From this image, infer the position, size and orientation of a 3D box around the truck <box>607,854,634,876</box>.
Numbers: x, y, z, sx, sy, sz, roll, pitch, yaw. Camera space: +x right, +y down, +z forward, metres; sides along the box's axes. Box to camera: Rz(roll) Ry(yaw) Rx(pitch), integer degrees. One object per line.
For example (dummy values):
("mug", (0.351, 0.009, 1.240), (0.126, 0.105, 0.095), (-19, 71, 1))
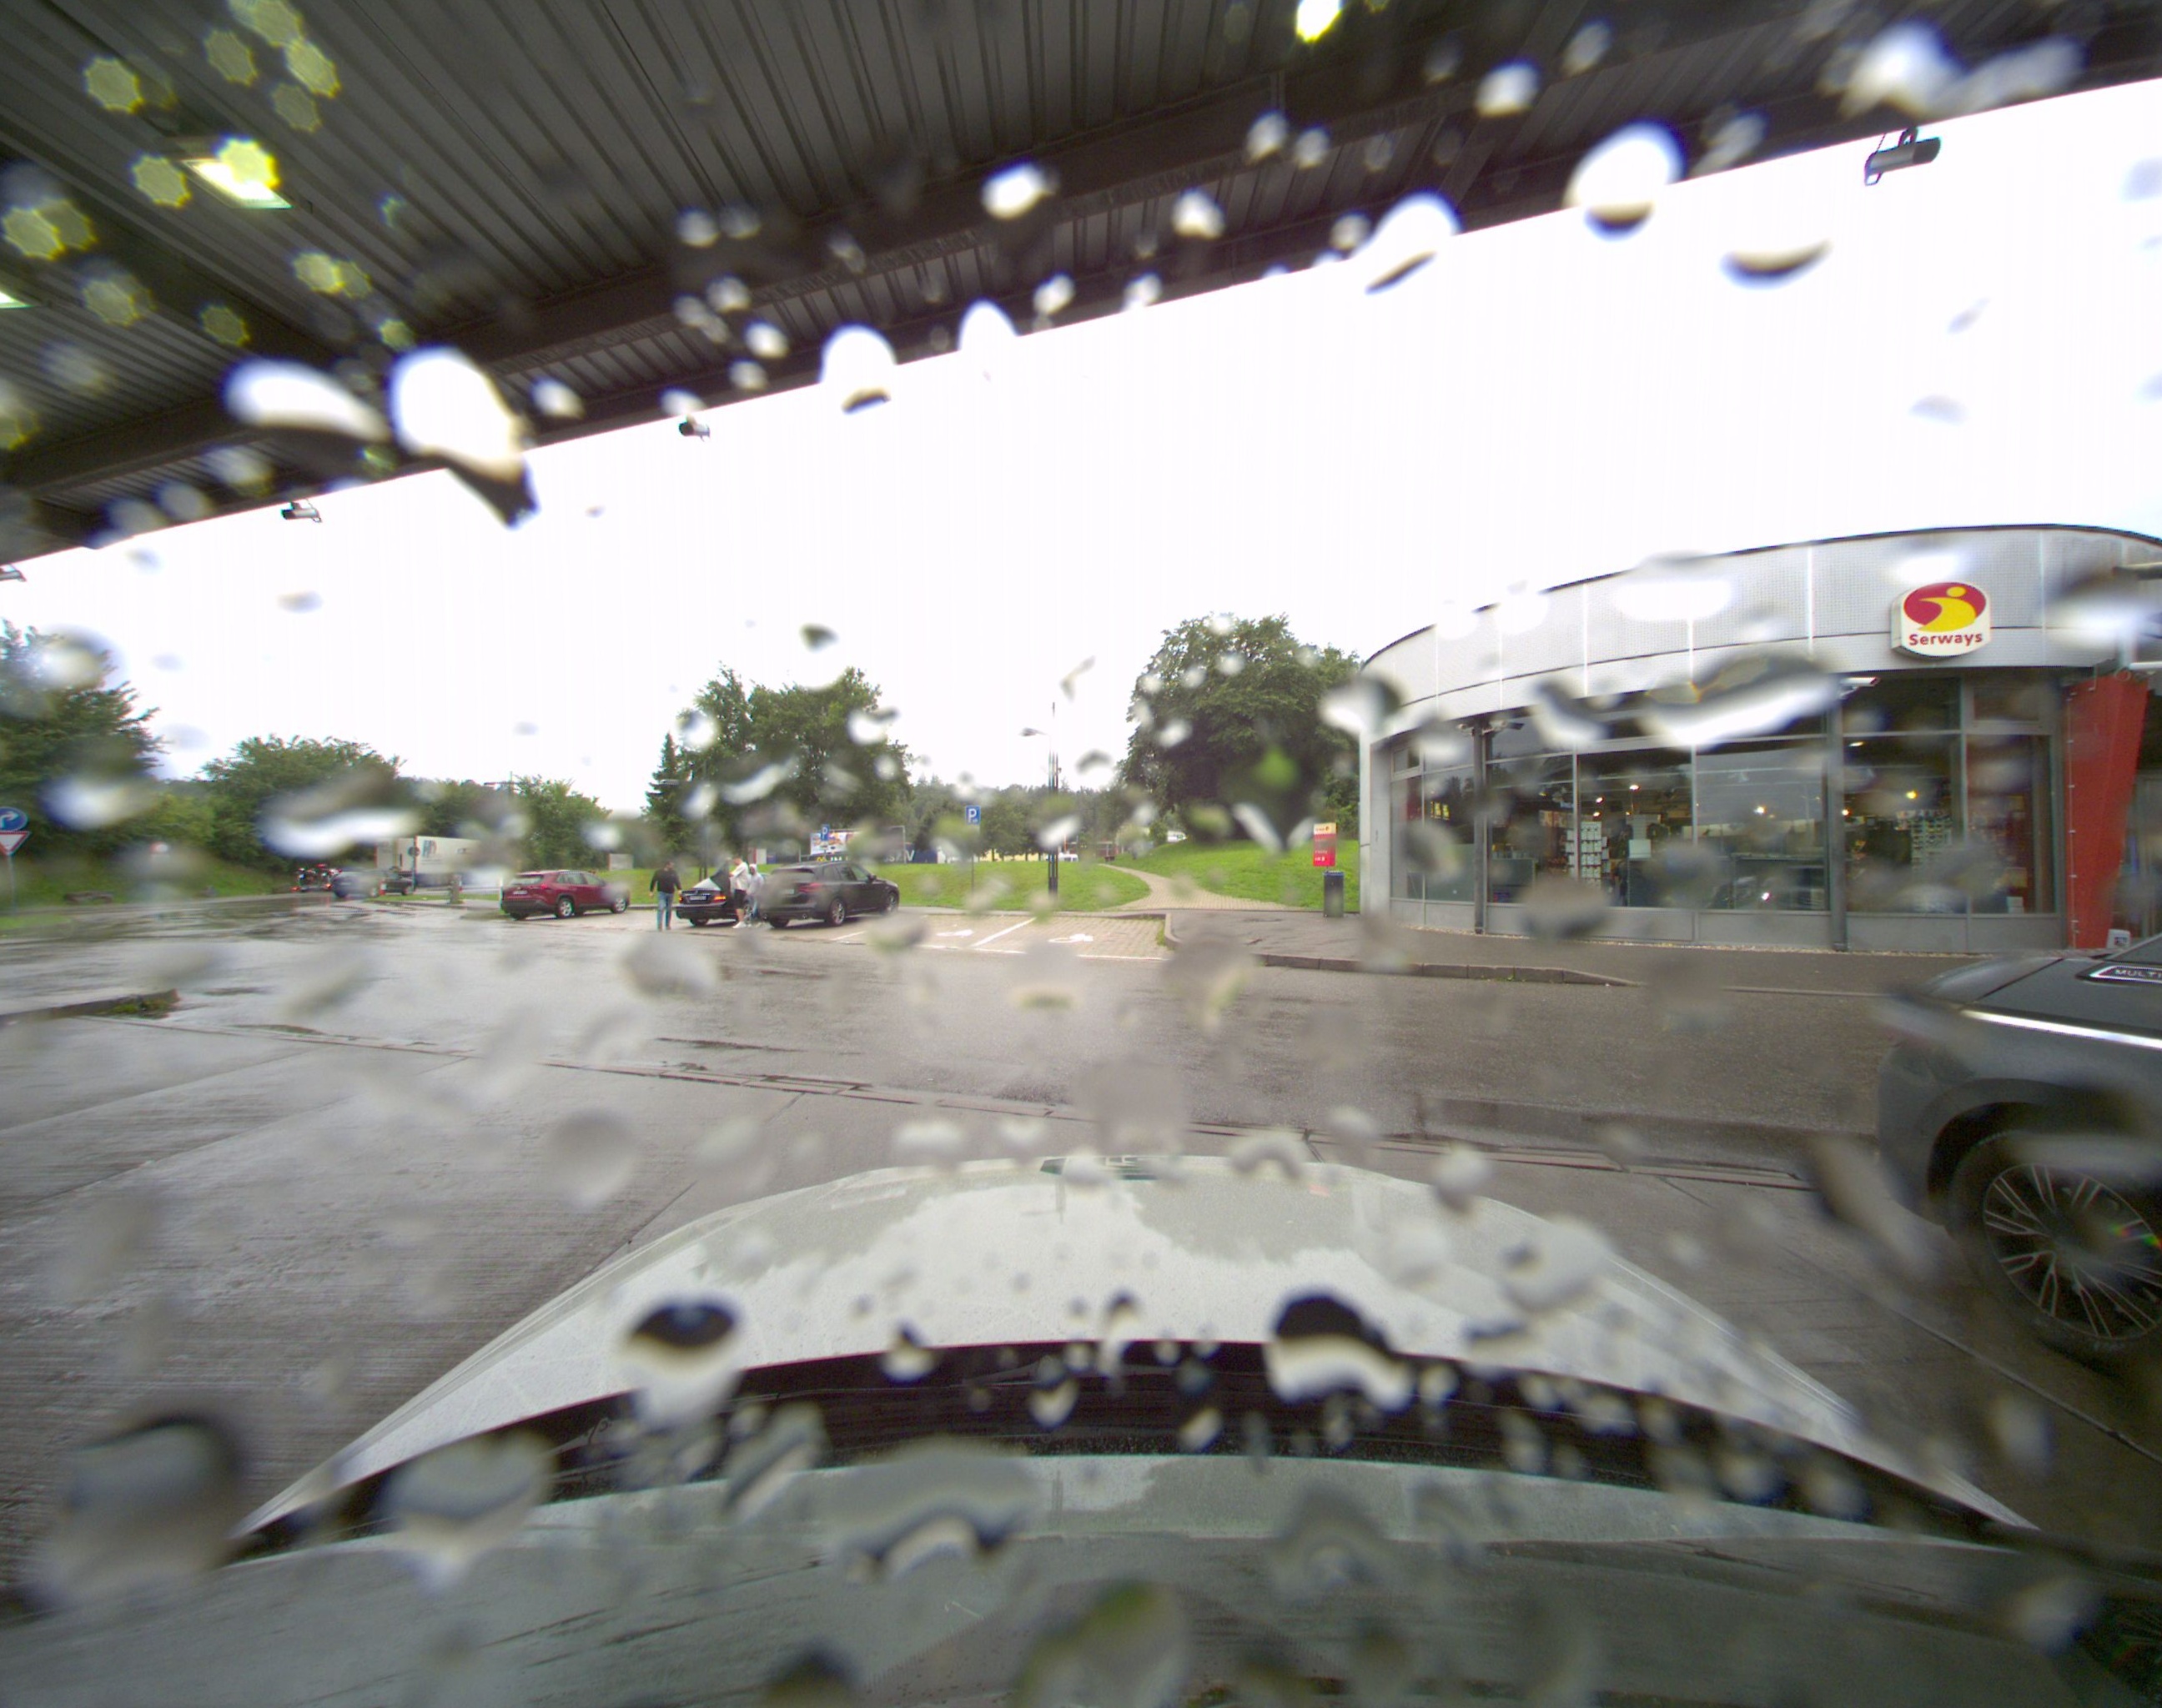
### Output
("truck", (-66.266, 1.576, 117.266), (2.488, 3.085, 7.301), (0, -1, -23))

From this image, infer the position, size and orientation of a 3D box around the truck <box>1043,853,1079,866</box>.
("truck", (-3.242, 0.874, 134.104), (5.356, 2.014, 2.381), (-1, -1, 26))

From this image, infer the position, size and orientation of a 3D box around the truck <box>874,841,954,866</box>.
("truck", (-20.747, -0.062, 102.346), (2.165, 2.920, 13.175), (-1, -1, 26))

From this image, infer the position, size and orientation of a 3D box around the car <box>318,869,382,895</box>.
("car", (-50.340, 1.866, 56.173), (1.814, 1.681, 3.927), (0, -1, -18))

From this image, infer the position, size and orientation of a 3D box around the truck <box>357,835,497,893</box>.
("truck", (-55.440, 0.826, 69.977), (3.550, 4.340, 16.899), (0, -1, -18))

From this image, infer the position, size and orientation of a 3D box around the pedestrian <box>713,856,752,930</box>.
("pedestrian", (-9.160, 0.996, 21.417), (0.701, 1.887, 0.951), (0, -1, -8))

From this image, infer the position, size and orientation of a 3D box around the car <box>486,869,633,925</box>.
("car", (-18.134, 1.435, 28.591), (1.928, 1.644, 4.352), (-2, 0, 7))

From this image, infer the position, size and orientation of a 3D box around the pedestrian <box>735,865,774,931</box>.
("pedestrian", (-8.320, 1.092, 20.779), (0.701, 1.631, 0.951), (0, -1, -8))

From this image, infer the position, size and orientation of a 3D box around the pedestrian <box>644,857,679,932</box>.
("pedestrian", (-10.858, 1.020, 21.104), (0.704, 1.887, 0.887), (0, -1, -21))

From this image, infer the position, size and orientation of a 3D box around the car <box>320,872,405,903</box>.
("car", (-41.243, 1.867, 46.876), (1.995, 1.678, 3.982), (-1, -1, -13))

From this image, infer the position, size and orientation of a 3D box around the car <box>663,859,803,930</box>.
("car", (-9.832, 1.077, 23.423), (2.010, 1.711, 4.344), (-2, 0, 1))

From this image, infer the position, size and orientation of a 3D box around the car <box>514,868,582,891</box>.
("car", (-39.368, 1.848, 60.244), (1.758, 1.628, 4.017), (-1, -1, 17))

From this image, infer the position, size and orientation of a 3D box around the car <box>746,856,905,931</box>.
("car", (-6.646, 0.967, 21.779), (2.002, 1.711, 4.360), (-2, 0, 14))

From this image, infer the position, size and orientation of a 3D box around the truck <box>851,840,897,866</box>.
("truck", (-24.180, -0.094, 95.455), (2.165, 2.920, 5.419), (-1, -1, 27))

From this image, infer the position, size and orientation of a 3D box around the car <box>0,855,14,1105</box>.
("car", (-7.965, 0.798, 2.675), (1.854, 1.608, 5.273), (0, -1, 2))

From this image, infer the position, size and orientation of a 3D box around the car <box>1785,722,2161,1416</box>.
("car", (3.677, 0.541, 0.676), (1.854, 1.798, 5.142), (0, -1, 2))
